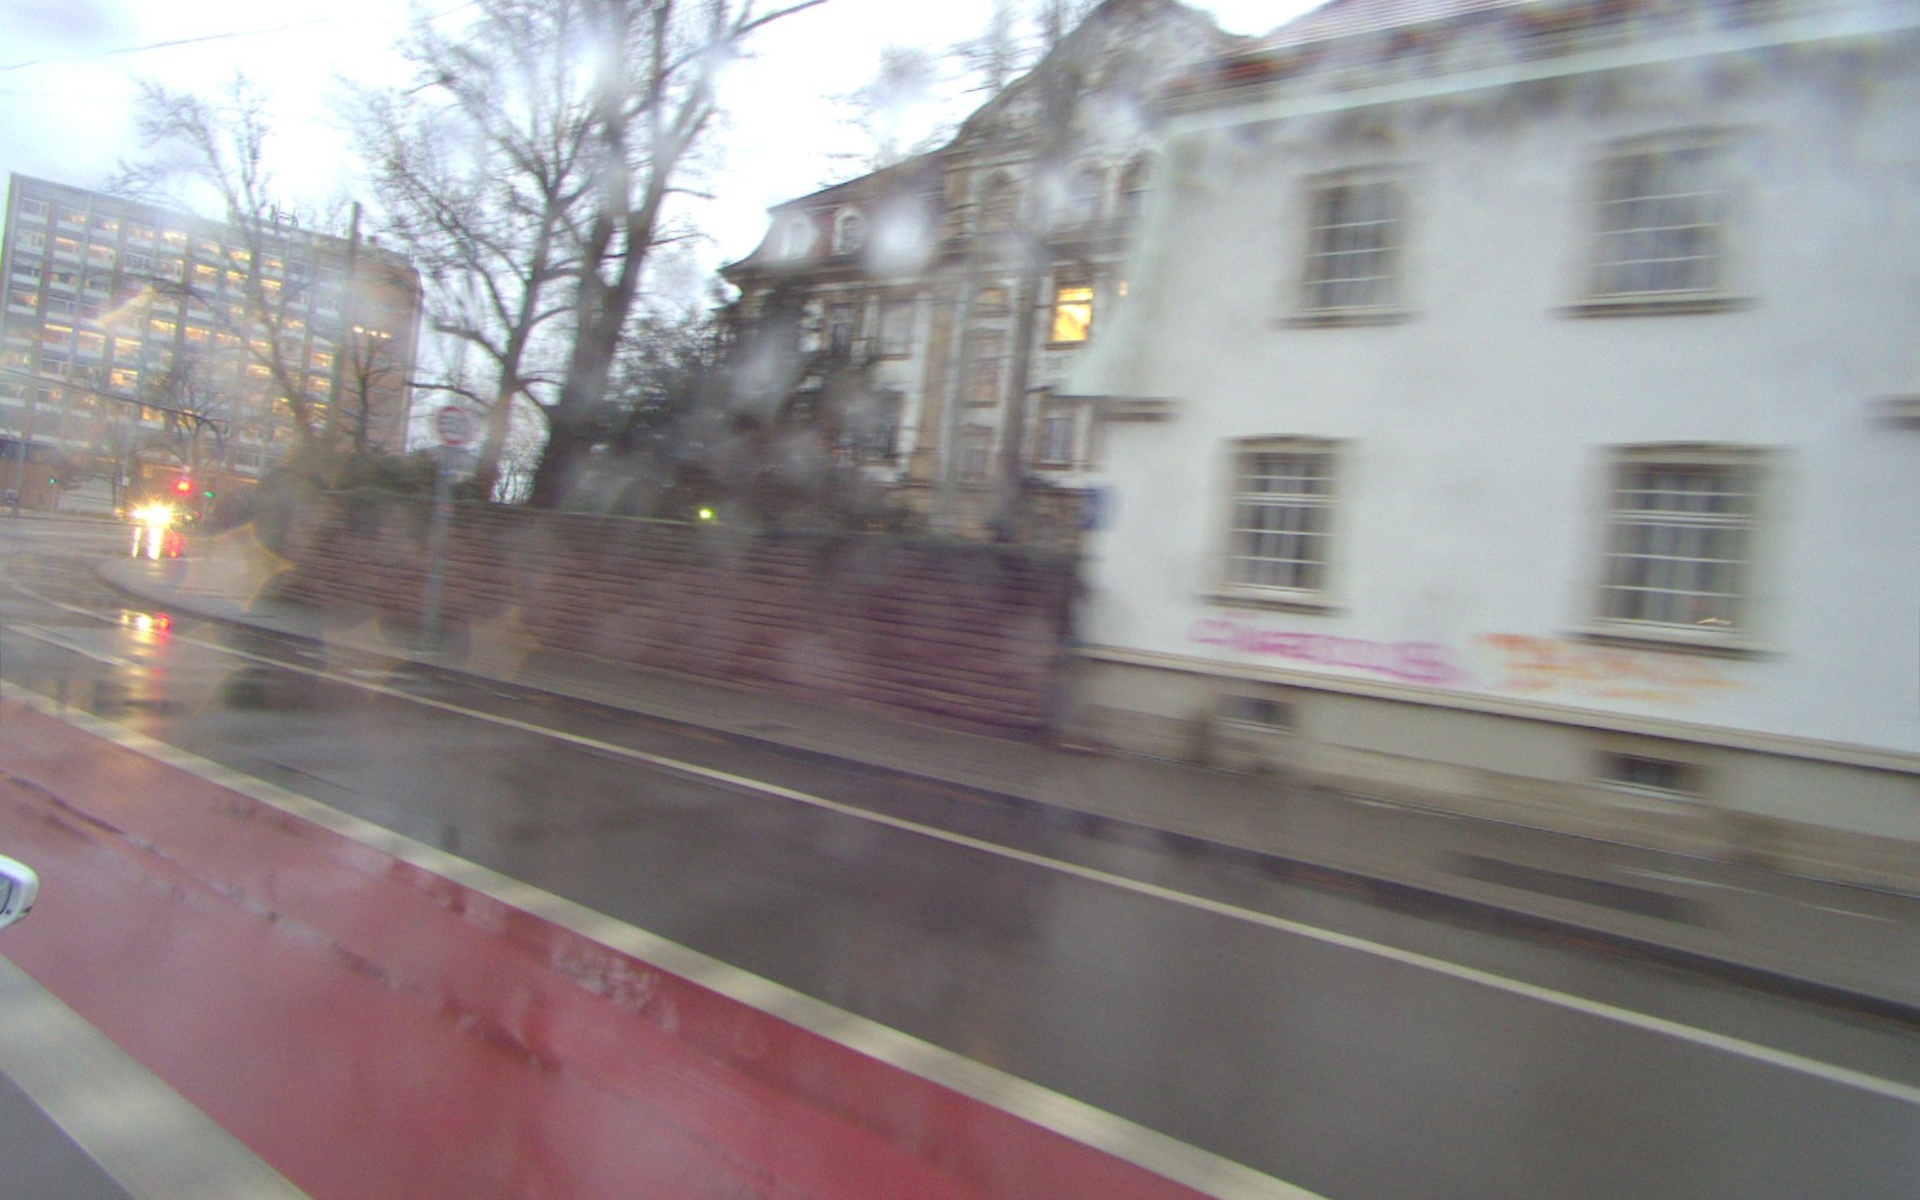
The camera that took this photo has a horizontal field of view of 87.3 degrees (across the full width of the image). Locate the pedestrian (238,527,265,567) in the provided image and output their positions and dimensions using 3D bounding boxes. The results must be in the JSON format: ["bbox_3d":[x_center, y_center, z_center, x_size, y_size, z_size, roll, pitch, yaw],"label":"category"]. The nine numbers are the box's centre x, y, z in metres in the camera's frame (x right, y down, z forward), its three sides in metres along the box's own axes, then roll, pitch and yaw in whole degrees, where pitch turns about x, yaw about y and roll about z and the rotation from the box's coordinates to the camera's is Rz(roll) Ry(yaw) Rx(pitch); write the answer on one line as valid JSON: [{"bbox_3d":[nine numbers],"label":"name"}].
[{"bbox_3d":[-32.337,-2.436,45.927,0.801,1.706,1.143,5,2,-41],"label":"pedestrian"}]

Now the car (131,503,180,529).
[{"bbox_3d":[-61.581,-6.394,77.057,1.737,1.683,4.502,6,0,-25],"label":"car"}]
